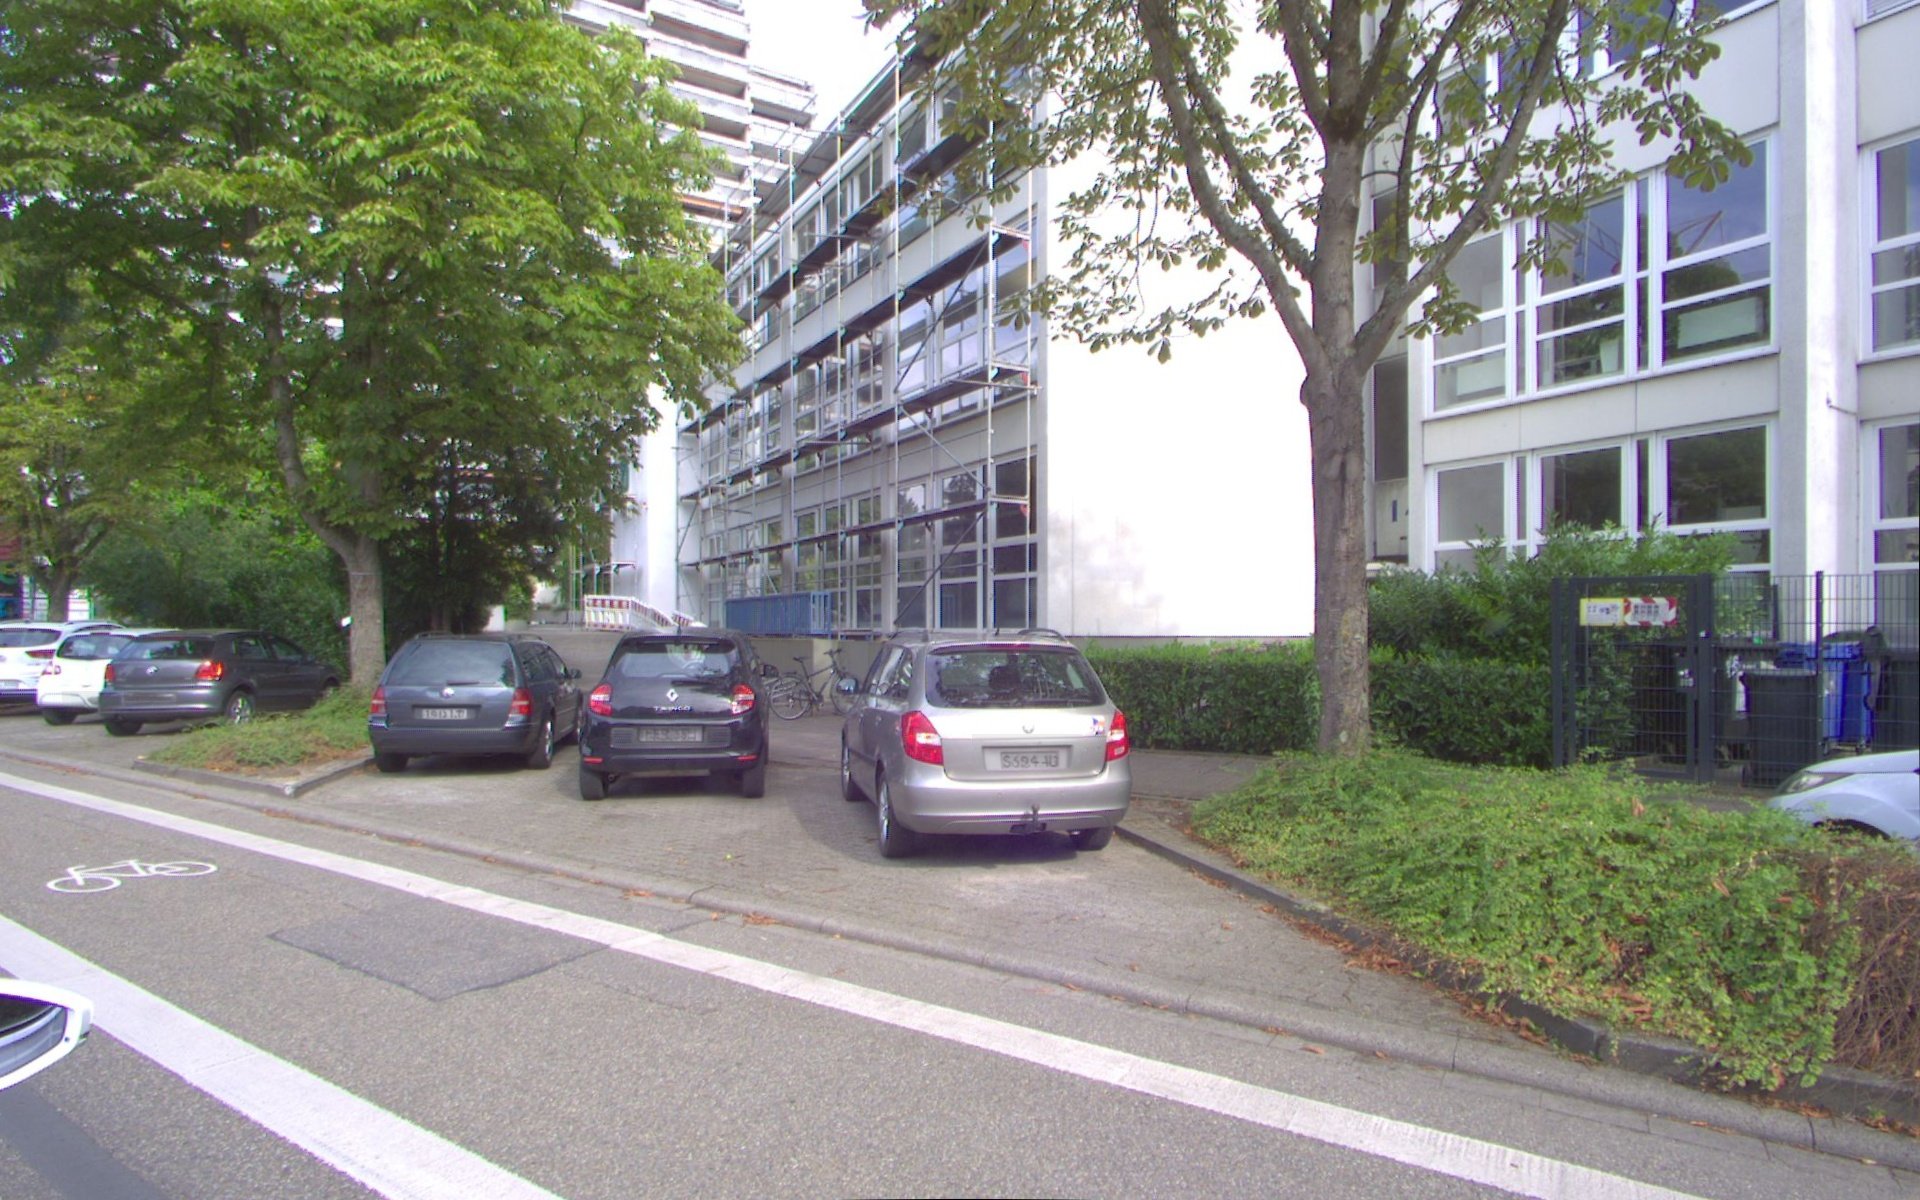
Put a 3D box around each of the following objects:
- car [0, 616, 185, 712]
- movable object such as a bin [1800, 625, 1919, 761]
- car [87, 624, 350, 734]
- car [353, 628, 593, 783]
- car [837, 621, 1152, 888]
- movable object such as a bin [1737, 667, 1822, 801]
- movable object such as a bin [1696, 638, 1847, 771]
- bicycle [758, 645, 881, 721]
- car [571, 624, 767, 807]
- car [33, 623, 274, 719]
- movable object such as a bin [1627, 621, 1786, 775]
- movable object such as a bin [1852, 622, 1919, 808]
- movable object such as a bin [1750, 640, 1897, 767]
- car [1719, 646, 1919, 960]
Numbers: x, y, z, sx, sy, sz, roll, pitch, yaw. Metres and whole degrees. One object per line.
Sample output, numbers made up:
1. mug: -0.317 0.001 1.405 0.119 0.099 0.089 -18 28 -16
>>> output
1. car: -16.183 1.109 18.337 1.530 1.593 3.447 0 -1 -6
2. movable object such as a bin: 11.269 1.113 12.415 1.021 1.582 1.072 2 -2 -33
3. car: -11.003 1.106 15.183 1.593 1.461 3.536 0 -1 -6
4. car: -5.394 1.085 11.591 1.610 1.477 3.738 1 -2 -12
5. car: 0.013 0.970 7.816 1.610 1.541 3.738 1 -2 -12
6. movable object such as a bin: 7.325 1.168 8.949 0.566 1.117 0.647 0 -2 42
7. movable object such as a bin: 9.130 1.136 11.283 1.021 1.385 1.072 2 -2 -33
8. bicycle: -2.315 1.343 16.577 1.943 1.143 0.536 -1 0 -28
9. car: -2.878 1.050 10.478 1.610 1.541 3.738 1 -2 -12
10. car: -13.439 1.132 16.956 1.530 1.461 3.447 0 -1 -6
11. movable object such as a bin: 8.029 1.010 10.788 1.105 1.542 1.072 2 -2 -33
12. movable object such as a bin: 8.526 0.964 8.465 1.316 1.527 1.067 0 -2 34
13. movable object such as a bin: 10.114 1.169 11.740 1.021 1.385 1.072 2 -2 -33
14. car: 5.561 0.946 4.042 1.611 1.478 3.825 1 -2 -14
